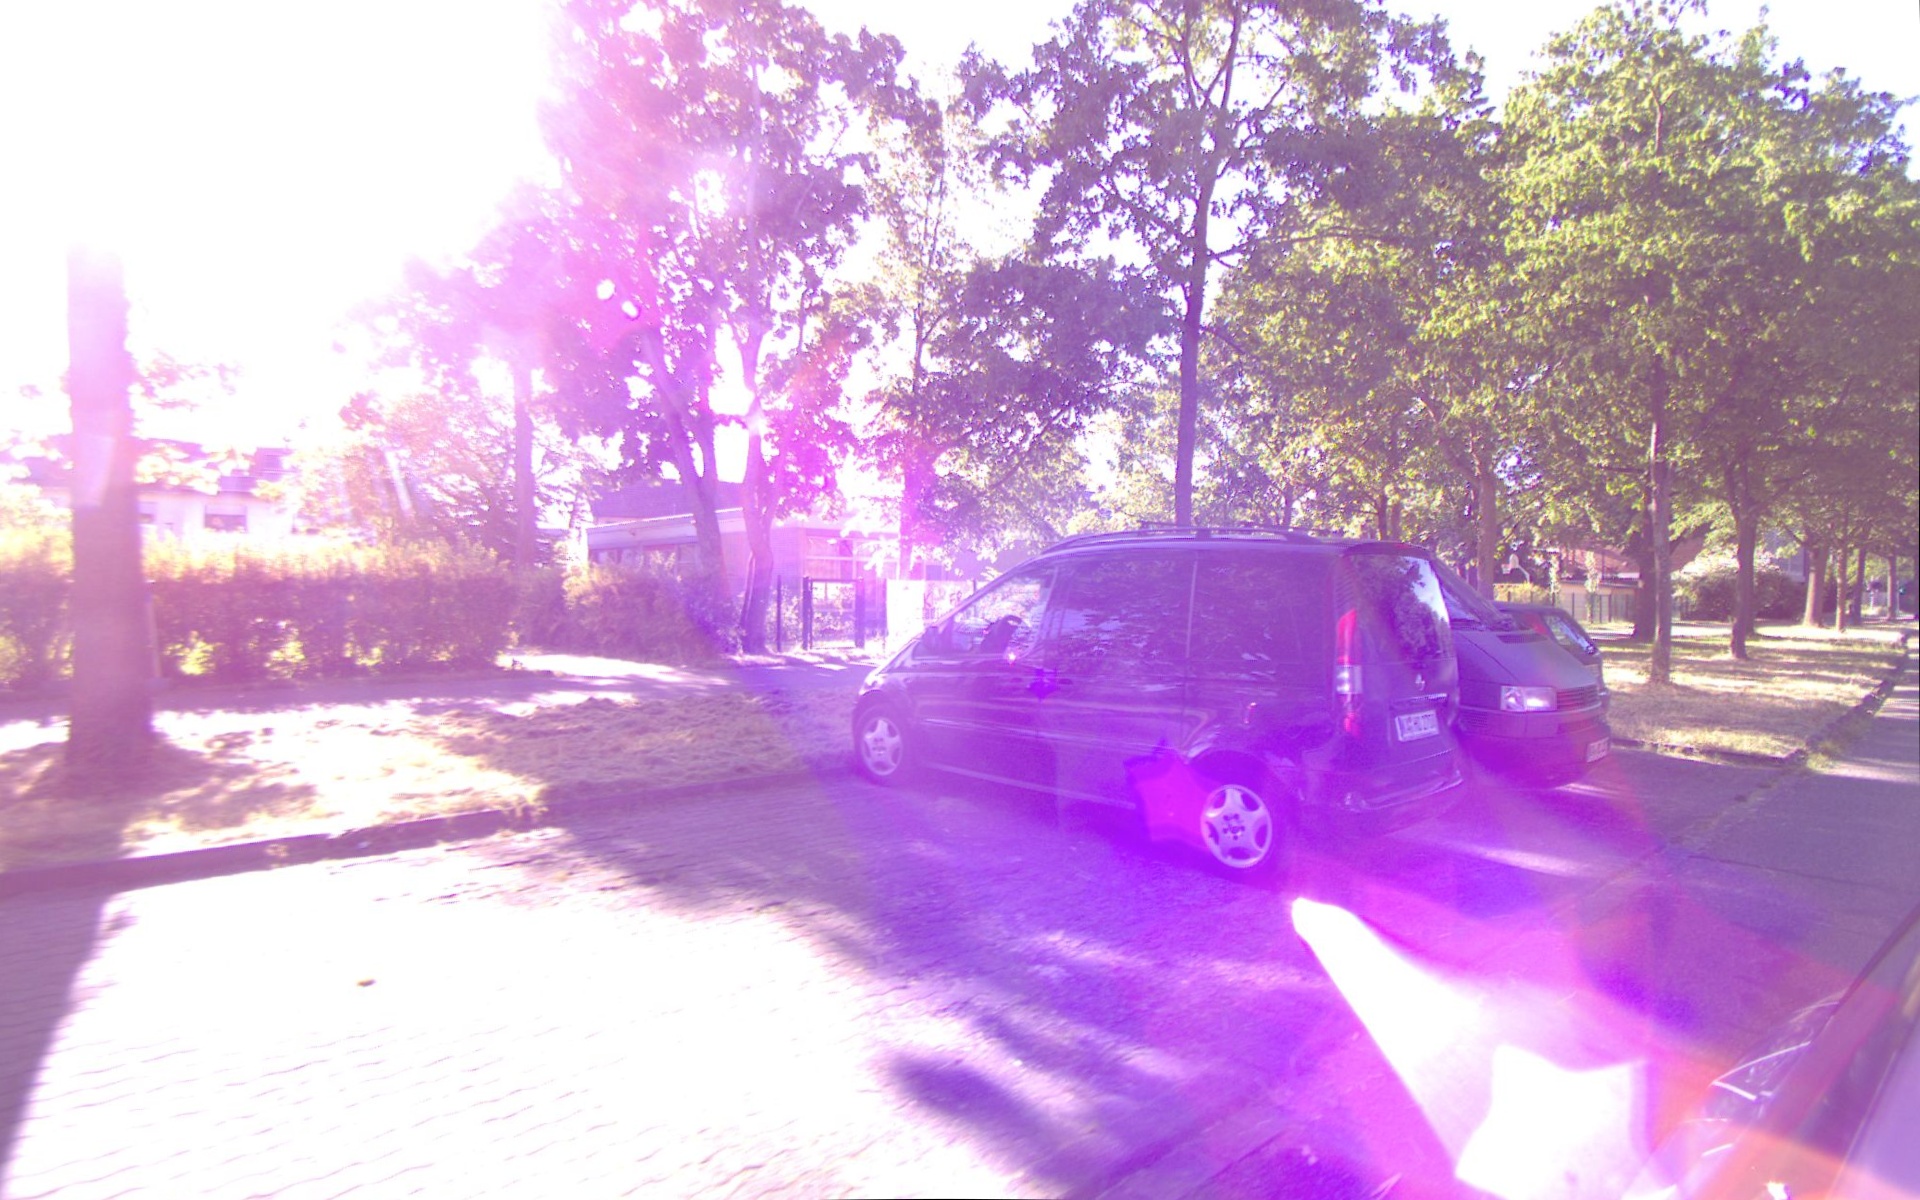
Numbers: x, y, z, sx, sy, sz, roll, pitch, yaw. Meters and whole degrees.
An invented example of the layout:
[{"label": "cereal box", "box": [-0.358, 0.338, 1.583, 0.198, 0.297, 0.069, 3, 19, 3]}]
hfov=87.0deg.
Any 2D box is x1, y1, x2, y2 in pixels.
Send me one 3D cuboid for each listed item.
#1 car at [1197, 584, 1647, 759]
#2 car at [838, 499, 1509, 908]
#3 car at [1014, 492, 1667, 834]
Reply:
[{"label": "car", "box": [4.700, 0.587, 10.754, 1.709, 1.420, 3.996, 0, 2, -41]}, {"label": "car", "box": [1.118, 0.383, 6.666, 1.769, 1.859, 4.014, 0, 2, -43]}, {"label": "car", "box": [2.826, 0.301, 8.534, 1.910, 2.057, 4.812, 0, 2, -41]}]
